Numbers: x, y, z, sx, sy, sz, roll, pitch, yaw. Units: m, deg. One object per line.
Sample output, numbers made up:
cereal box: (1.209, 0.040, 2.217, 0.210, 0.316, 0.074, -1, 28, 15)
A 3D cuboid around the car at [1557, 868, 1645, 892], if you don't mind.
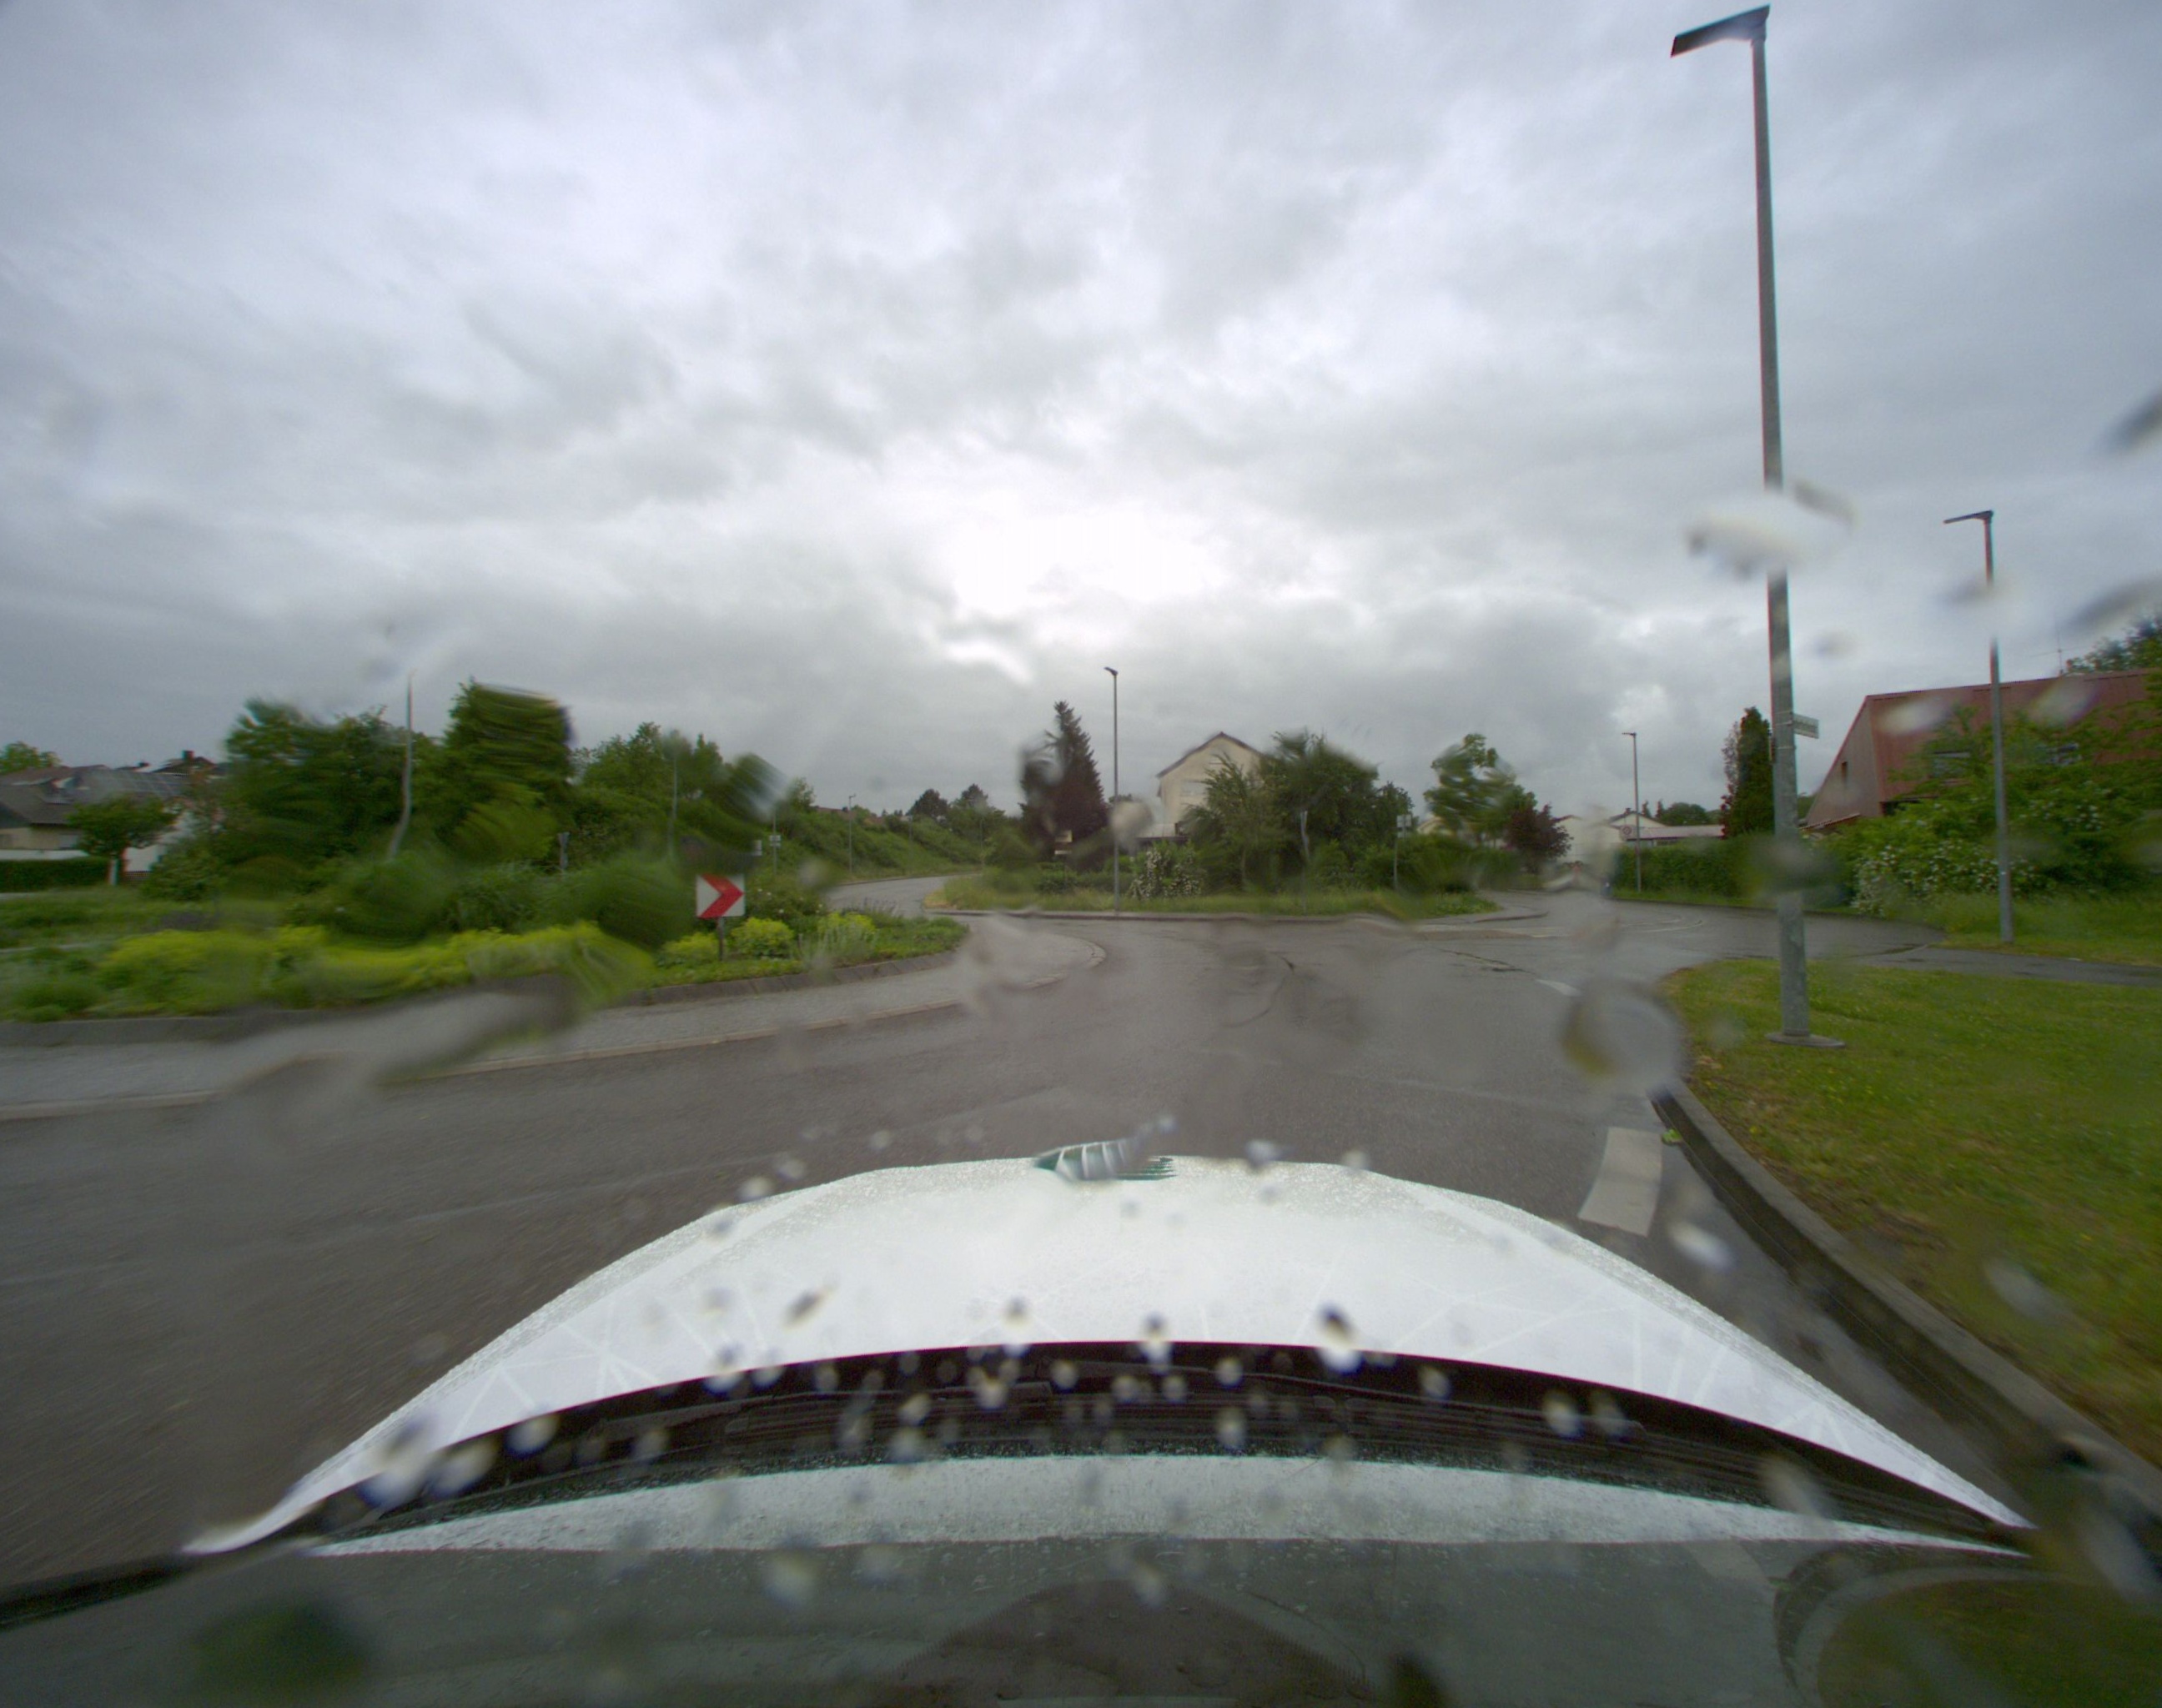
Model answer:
car: (30.423, 1.533, 47.775, 3.957, 1.374, 1.791, -1, -2, 15)
